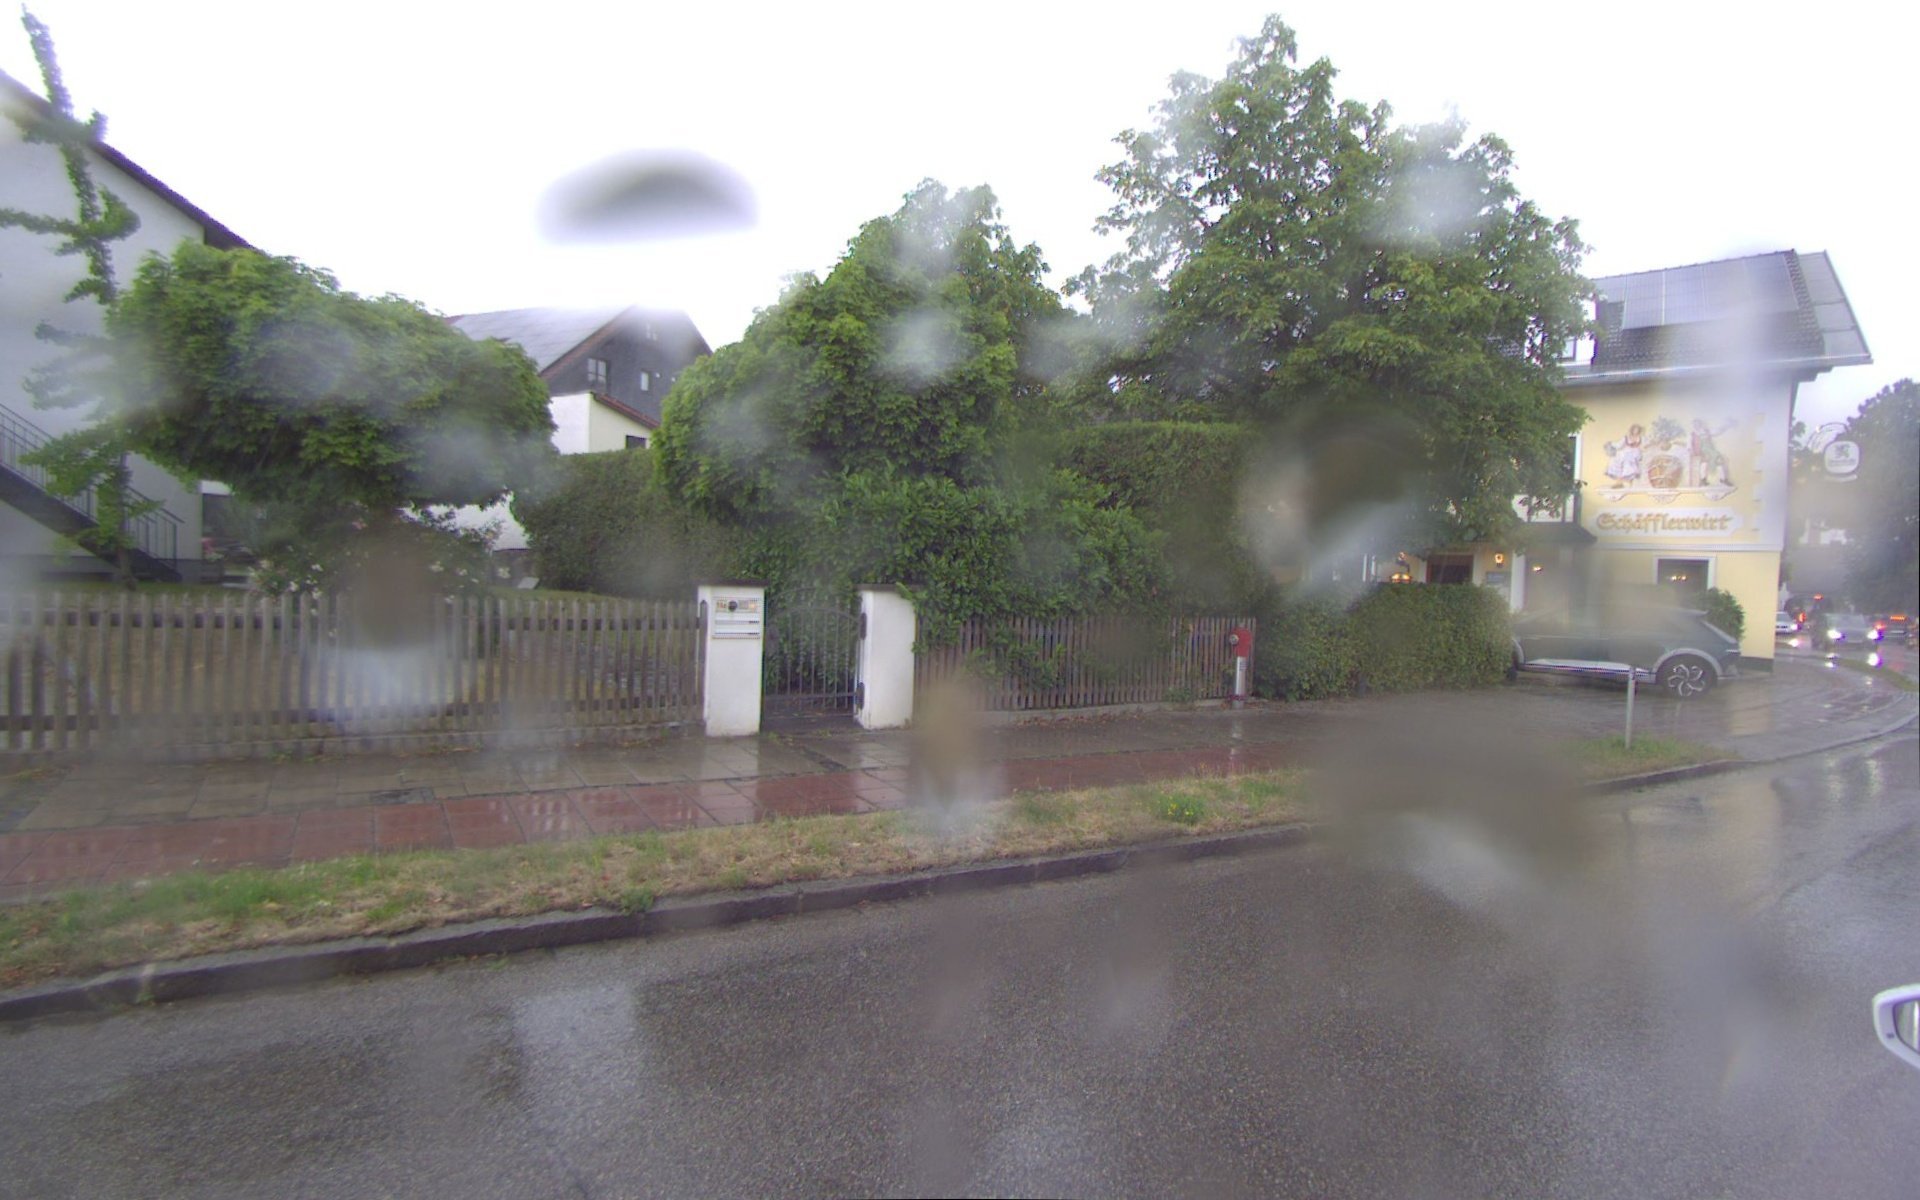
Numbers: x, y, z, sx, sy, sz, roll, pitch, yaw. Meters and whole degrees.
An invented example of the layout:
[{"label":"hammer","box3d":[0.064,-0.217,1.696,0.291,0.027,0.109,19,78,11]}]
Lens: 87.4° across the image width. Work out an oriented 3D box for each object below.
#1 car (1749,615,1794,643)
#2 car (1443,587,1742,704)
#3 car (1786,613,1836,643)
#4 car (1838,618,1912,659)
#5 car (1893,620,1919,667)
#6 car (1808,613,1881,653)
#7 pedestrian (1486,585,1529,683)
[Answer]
[{"label":"car","box3d":[51.226,1.815,63.454,1.728,1.700,3.990,0,-1,32]},{"label":"car","box3d":[11.581,0.737,18.694,4.413,1.589,1.834,6,5,32]},{"label":"car","box3d":[61.923,1.991,73.159,2.139,1.925,4.999,3,2,34]},{"label":"car","box3d":[49.542,2.031,54.497,2.139,1.925,4.999,3,2,34]},{"label":"car","box3d":[44.245,1.989,45.429,2.139,1.925,4.999,3,2,34]},{"label":"car","box3d":[40.791,1.490,46.424,1.896,1.767,4.181,0,-1,33]},{"label":"pedestrian","box3d":[9.926,0.597,18.225,0.544,1.712,0.491,5,4,29]}]
